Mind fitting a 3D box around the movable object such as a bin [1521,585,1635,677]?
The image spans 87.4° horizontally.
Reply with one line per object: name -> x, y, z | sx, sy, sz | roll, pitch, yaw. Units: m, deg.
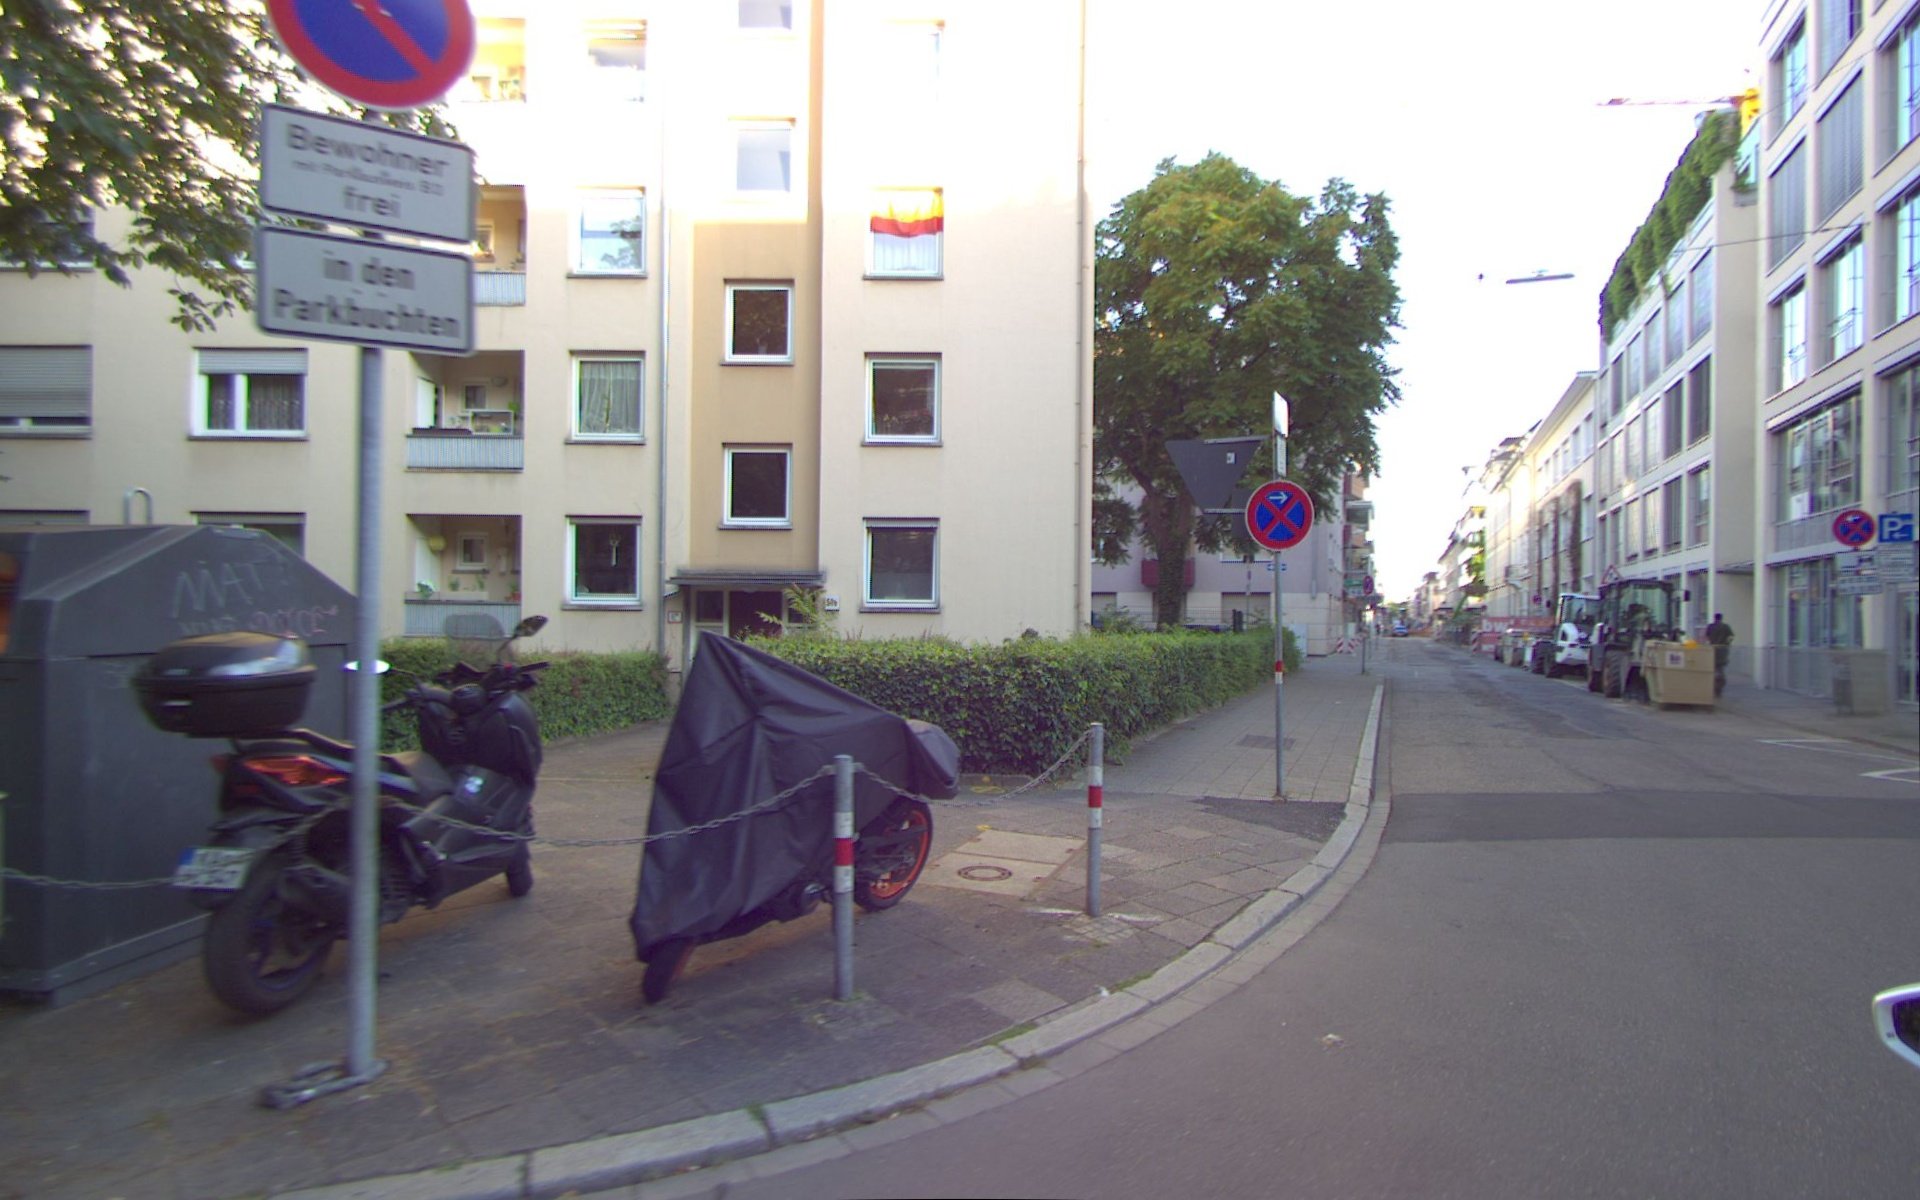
movable object such as a bin -> 18.547, 0.905, 30.362 | 2.240, 2.574, 4.097 | 0, -1, 21

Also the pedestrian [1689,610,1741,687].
pedestrian -> 18.913, 1.191, 25.183 | 0.874, 1.875, 0.875 | 0, -1, 26

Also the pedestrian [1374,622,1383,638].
pedestrian -> 43.872, 3.121, 105.376 | 0.785, 1.683, 0.743 | 1, -1, 26

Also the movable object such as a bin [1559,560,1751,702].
movable object such as a bin -> 15.152, 0.654, 22.316 | 2.240, 2.728, 5.647 | 0, -1, 21

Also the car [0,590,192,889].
car -> -6.117, 0.712, 4.229 | 2.033, 1.573, 4.636 | 1, 0, 3

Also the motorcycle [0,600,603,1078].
motorcycle -> -2.479, 0.746, 4.301 | 0.893, 1.439, 2.462 | 1, -1, 3

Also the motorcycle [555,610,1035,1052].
motorcycle -> -0.555, 0.780, 4.471 | 0.837, 1.439, 2.249 | 0, -1, 31

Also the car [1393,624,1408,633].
car -> 57.775, 3.714, 131.718 | 1.511, 1.149, 3.121 | 0, -1, 20
